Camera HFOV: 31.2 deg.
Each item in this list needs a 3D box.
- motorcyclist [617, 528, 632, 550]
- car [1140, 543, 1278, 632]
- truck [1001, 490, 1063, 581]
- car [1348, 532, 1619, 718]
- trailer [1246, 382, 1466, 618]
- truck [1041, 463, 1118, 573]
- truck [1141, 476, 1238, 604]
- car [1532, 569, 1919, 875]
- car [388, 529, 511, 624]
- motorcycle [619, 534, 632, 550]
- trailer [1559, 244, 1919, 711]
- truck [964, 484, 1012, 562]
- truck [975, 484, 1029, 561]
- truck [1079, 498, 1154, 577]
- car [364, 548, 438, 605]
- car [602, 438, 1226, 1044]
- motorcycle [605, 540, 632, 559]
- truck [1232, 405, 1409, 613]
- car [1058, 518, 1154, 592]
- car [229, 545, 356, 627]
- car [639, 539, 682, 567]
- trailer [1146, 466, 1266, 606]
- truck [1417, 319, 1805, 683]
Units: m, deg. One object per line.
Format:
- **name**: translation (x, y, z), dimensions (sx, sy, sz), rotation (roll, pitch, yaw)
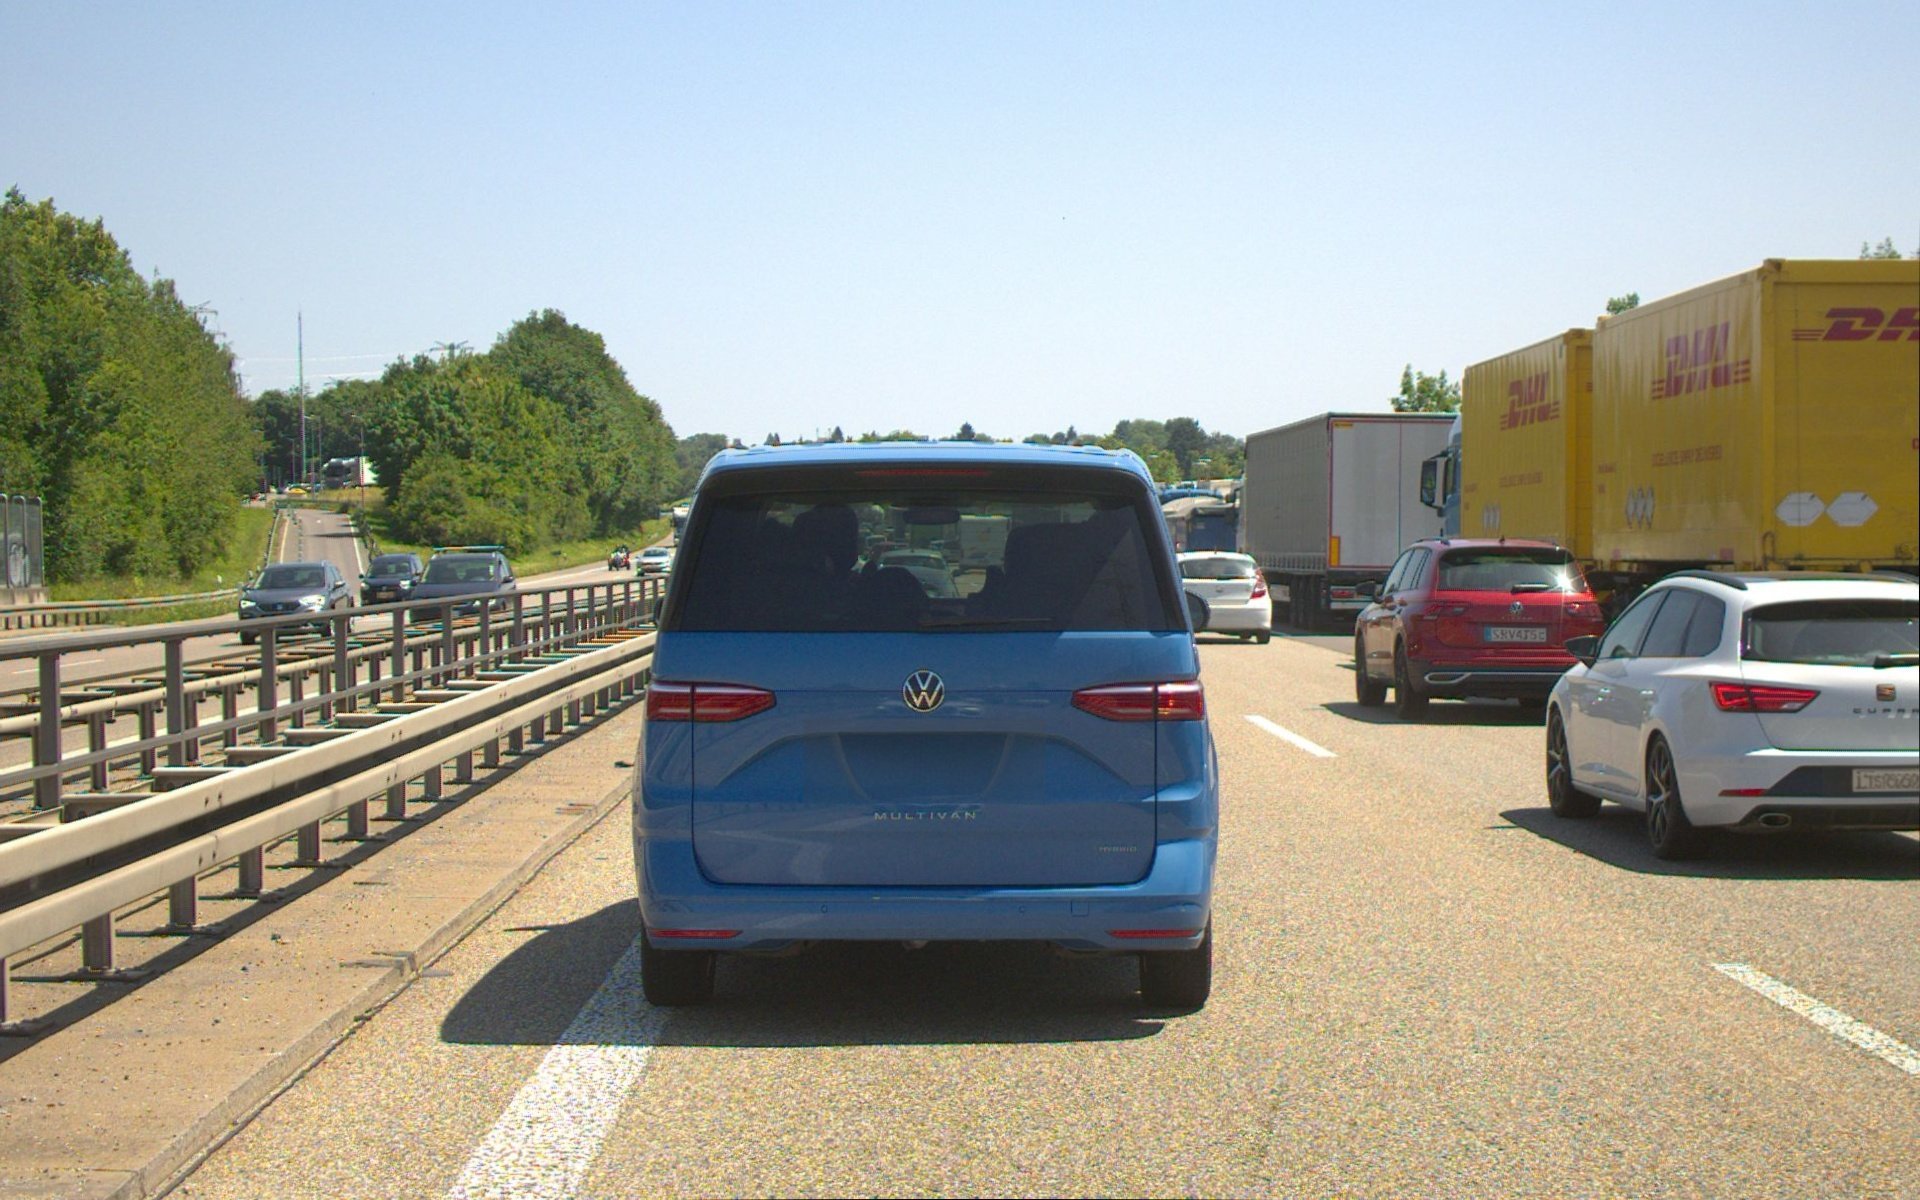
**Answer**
- **motorcyclist**: translation (-22.742, -4.143, 233.263), dimensions (0.898, 1.436, 1.082), rotation (-1, 2, -1)
- **car**: translation (4.063, -0.227, 56.588), dimensions (1.838, 1.409, 4.000), rotation (0, 1, -2)
- **truck**: translation (4.093, -3.639, 198.233), dimensions (2.833, 5.023, 11.818), rotation (1, 0, -2)
- **car**: translation (4.748, 0.187, 31.704), dimensions (1.851, 1.603, 4.000), rotation (0, 1, 0)
- **trailer**: translation (7.477, -1.797, 66.473), dimensions (2.755, 4.132, 11.312), rotation (1, 0, -1)
- **truck**: translation (5.637, -3.828, 164.286), dimensions (2.833, 5.023, 11.147), rotation (1, 0, -2)
- **truck**: translation (6.902, -1.779, 104.171), dimensions (2.367, 3.709, 6.034), rotation (1, 0, -1)
- **car**: translation (4.243, 0.543, 17.931), dimensions (1.781, 1.382, 4.188), rotation (0, 1, 0)
- **car**: translation (-9.791, -0.472, 66.236), dimensions (1.754, 1.715, 4.101), rotation (-1, 1, -1)
- **motorcycle**: translation (-22.704, -3.954, 233.287), dimensions (0.702, 1.067, 2.306), rotation (-1, 2, -1)
- **trailer**: translation (8.185, -1.071, 34.125), dimensions (2.701, 4.010, 8.931), rotation (1, 0, -1)
- **truck**: translation (1.946, -5.480, 248.252), dimensions (2.833, 5.354, 12.556), rotation (1, 0, -2)
- **truck**: translation (2.718, -5.112, 227.630), dimensions (2.833, 4.869, 13.222), rotation (-1, 1, -2)
- **truck**: translation (6.643, -2.629, 146.733), dimensions (2.355, 3.207, 9.742), rotation (1, 0, -2)
- **car**: translation (-18.241, -0.794, 112.336), dimensions (1.782, 1.779, 4.302), rotation (-1, 1, -1)
- **car**: translation (-0.157, 0.399, 12.412), dimensions (1.882, 1.831, 4.000), rotation (0, 1, 0)
- **motorcycle**: translation (-20.982, -3.088, 211.287), dimensions (1.366, 1.095, 2.576), rotation (-3, 1, -1)
- **truck**: translation (7.410, -1.819, 71.478), dimensions (2.768, 4.081, 6.984), rotation (1, 0, -1)
- **car**: translation (3.247, -1.006, 77.317), dimensions (1.715, 1.581, 3.821), rotation (-1, 1, -4)
- **car**: translation (-13.374, -0.284, 69.102), dimensions (1.754, 1.542, 4.000), rotation (-2, 0, -1)
- **car**: translation (-15.937, -2.487, 183.024), dimensions (1.910, 1.389, 4.165), rotation (-2, 0, -1)
- **trailer**: translation (6.958, -1.766, 98.545), dimensions (2.379, 3.731, 11.189), rotation (1, 0, -1)
- **truck**: translation (8.005, -1.140, 43.781), dimensions (2.722, 4.041, 10.337), rotation (1, 0, -1)
